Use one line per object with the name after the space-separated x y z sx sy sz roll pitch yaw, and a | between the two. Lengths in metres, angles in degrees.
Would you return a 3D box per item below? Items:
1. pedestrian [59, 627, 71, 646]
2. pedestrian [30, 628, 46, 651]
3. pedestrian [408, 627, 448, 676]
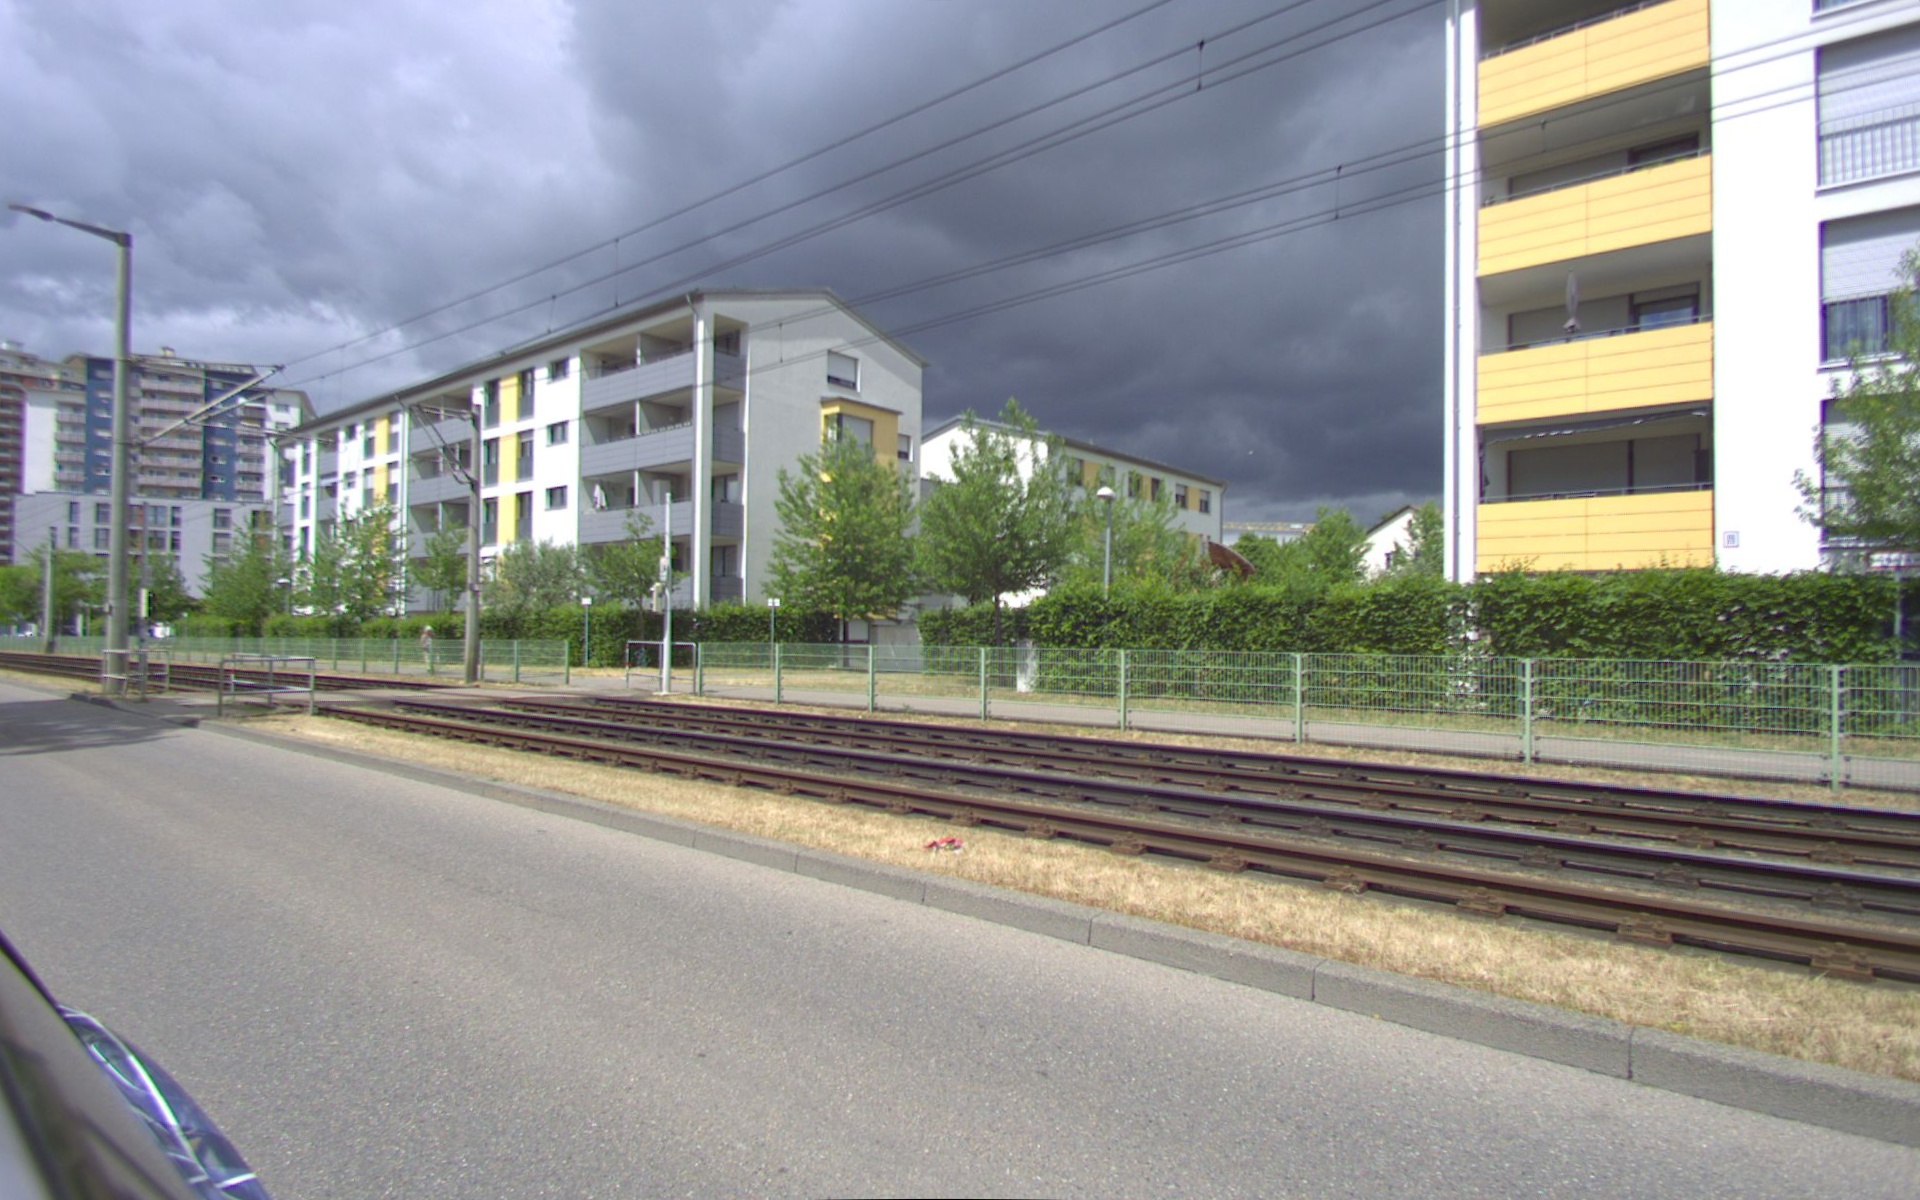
-81.302 3.332 91.897 0.537 1.666 0.740 -2 -2 38 | pedestrian
-66.488 2.858 72.979 0.936 1.625 0.747 -2 -2 38 | pedestrian
-16.679 1.598 31.722 0.994 1.494 0.788 -2 -2 39 | pedestrian
